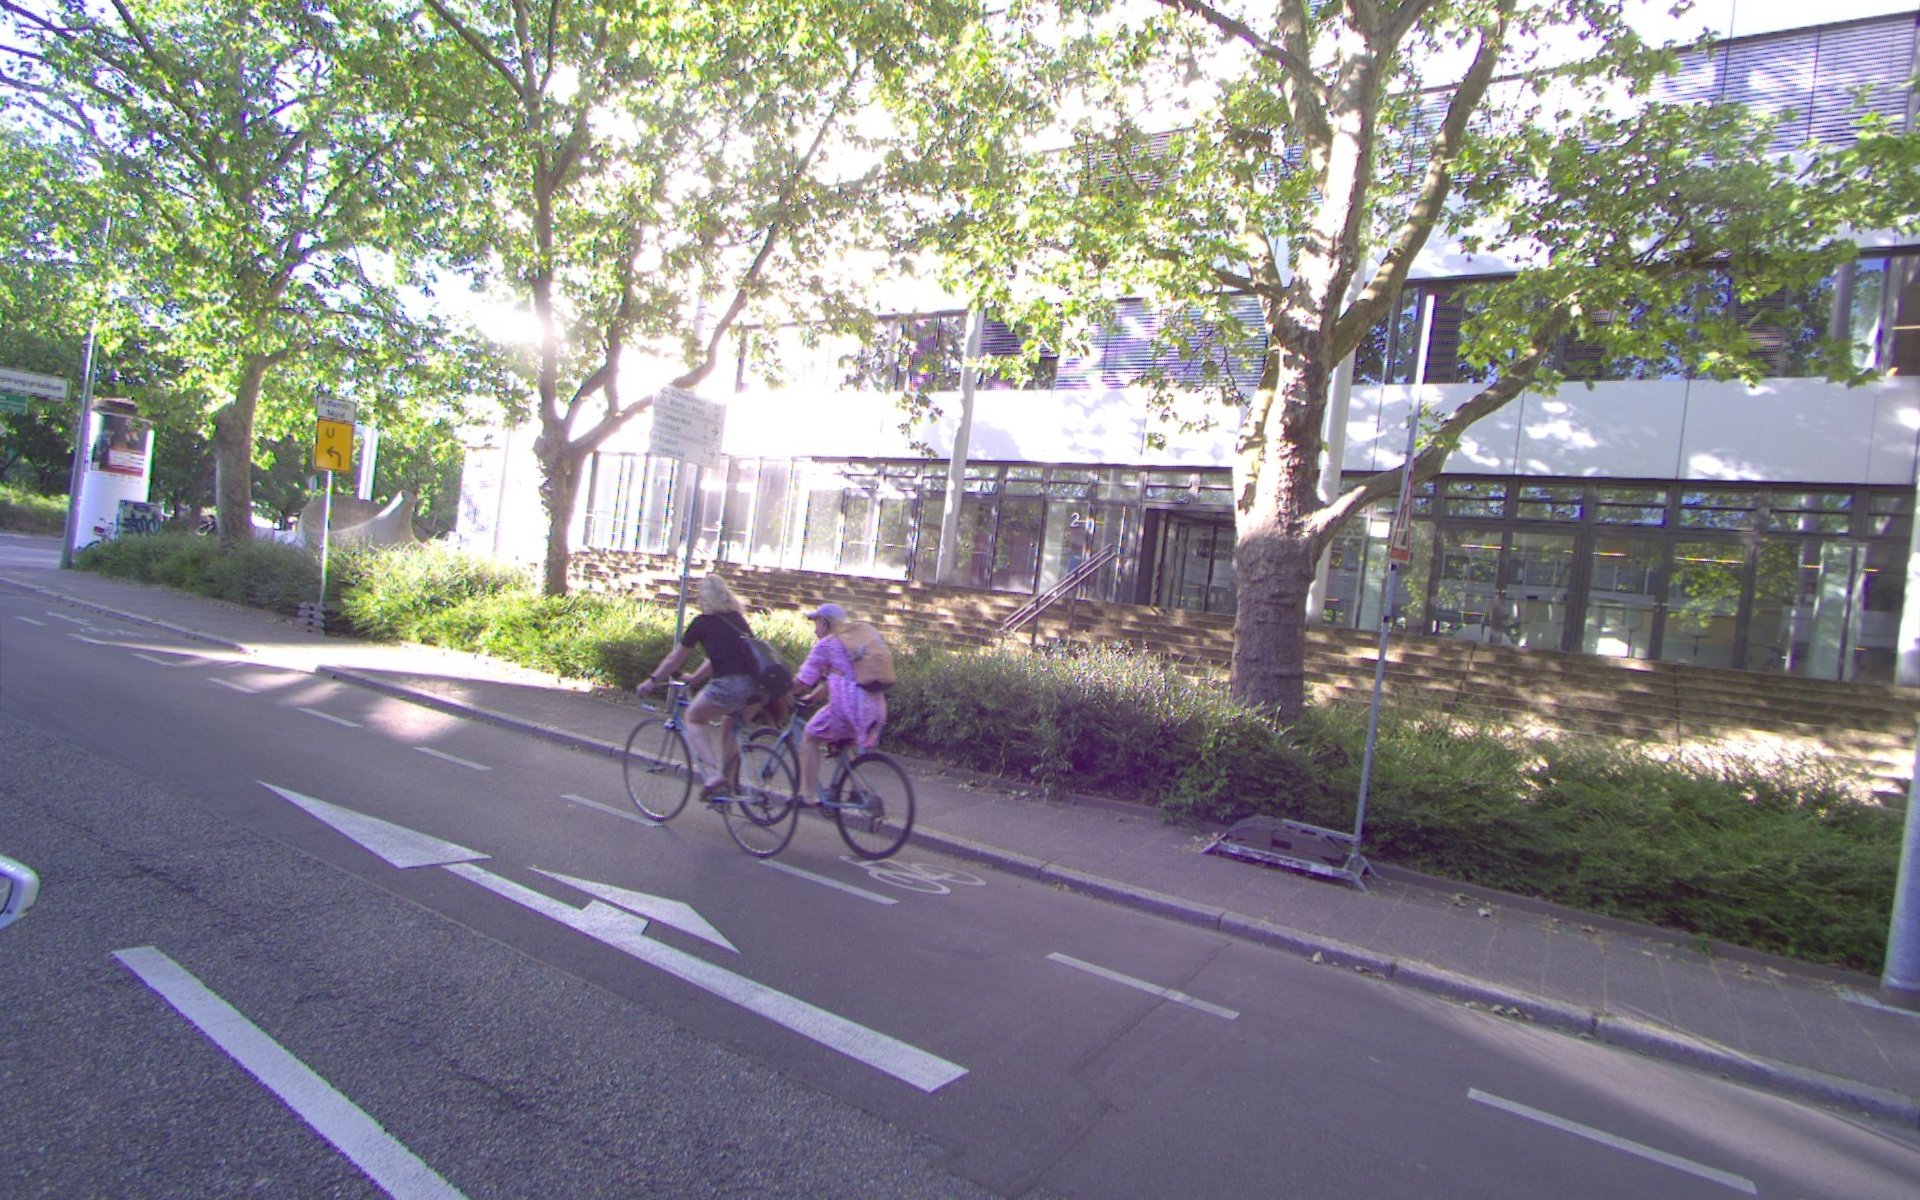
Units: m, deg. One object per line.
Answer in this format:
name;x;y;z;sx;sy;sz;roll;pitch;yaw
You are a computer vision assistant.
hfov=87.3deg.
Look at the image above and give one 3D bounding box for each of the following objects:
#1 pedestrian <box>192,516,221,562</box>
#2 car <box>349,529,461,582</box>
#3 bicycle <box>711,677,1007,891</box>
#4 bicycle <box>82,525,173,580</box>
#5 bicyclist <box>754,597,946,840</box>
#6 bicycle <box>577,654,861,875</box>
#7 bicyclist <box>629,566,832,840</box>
pedestrian;-31.427;-2.548;41.964;0.620;1.805;0.620;7;0;34
car;-25.879;-2.050;46.987;1.969;1.805;3.998;7;-1;37
bicycle;-0.700;1.150;6.642;1.850;0.996;0.602;7;-2;32
bicycle;-19.089;-1.086;23.094;0.529;1.049;1.418;7;-1;28
bicyclist;-0.730;0.766;6.700;0.915;1.417;0.602;7;-2;32
bicycle;-1.558;0.986;6.391;1.702;1.038;0.611;7;-2;32
bicyclist;-1.443;0.625;6.345;0.875;1.533;0.611;7;-2;32
